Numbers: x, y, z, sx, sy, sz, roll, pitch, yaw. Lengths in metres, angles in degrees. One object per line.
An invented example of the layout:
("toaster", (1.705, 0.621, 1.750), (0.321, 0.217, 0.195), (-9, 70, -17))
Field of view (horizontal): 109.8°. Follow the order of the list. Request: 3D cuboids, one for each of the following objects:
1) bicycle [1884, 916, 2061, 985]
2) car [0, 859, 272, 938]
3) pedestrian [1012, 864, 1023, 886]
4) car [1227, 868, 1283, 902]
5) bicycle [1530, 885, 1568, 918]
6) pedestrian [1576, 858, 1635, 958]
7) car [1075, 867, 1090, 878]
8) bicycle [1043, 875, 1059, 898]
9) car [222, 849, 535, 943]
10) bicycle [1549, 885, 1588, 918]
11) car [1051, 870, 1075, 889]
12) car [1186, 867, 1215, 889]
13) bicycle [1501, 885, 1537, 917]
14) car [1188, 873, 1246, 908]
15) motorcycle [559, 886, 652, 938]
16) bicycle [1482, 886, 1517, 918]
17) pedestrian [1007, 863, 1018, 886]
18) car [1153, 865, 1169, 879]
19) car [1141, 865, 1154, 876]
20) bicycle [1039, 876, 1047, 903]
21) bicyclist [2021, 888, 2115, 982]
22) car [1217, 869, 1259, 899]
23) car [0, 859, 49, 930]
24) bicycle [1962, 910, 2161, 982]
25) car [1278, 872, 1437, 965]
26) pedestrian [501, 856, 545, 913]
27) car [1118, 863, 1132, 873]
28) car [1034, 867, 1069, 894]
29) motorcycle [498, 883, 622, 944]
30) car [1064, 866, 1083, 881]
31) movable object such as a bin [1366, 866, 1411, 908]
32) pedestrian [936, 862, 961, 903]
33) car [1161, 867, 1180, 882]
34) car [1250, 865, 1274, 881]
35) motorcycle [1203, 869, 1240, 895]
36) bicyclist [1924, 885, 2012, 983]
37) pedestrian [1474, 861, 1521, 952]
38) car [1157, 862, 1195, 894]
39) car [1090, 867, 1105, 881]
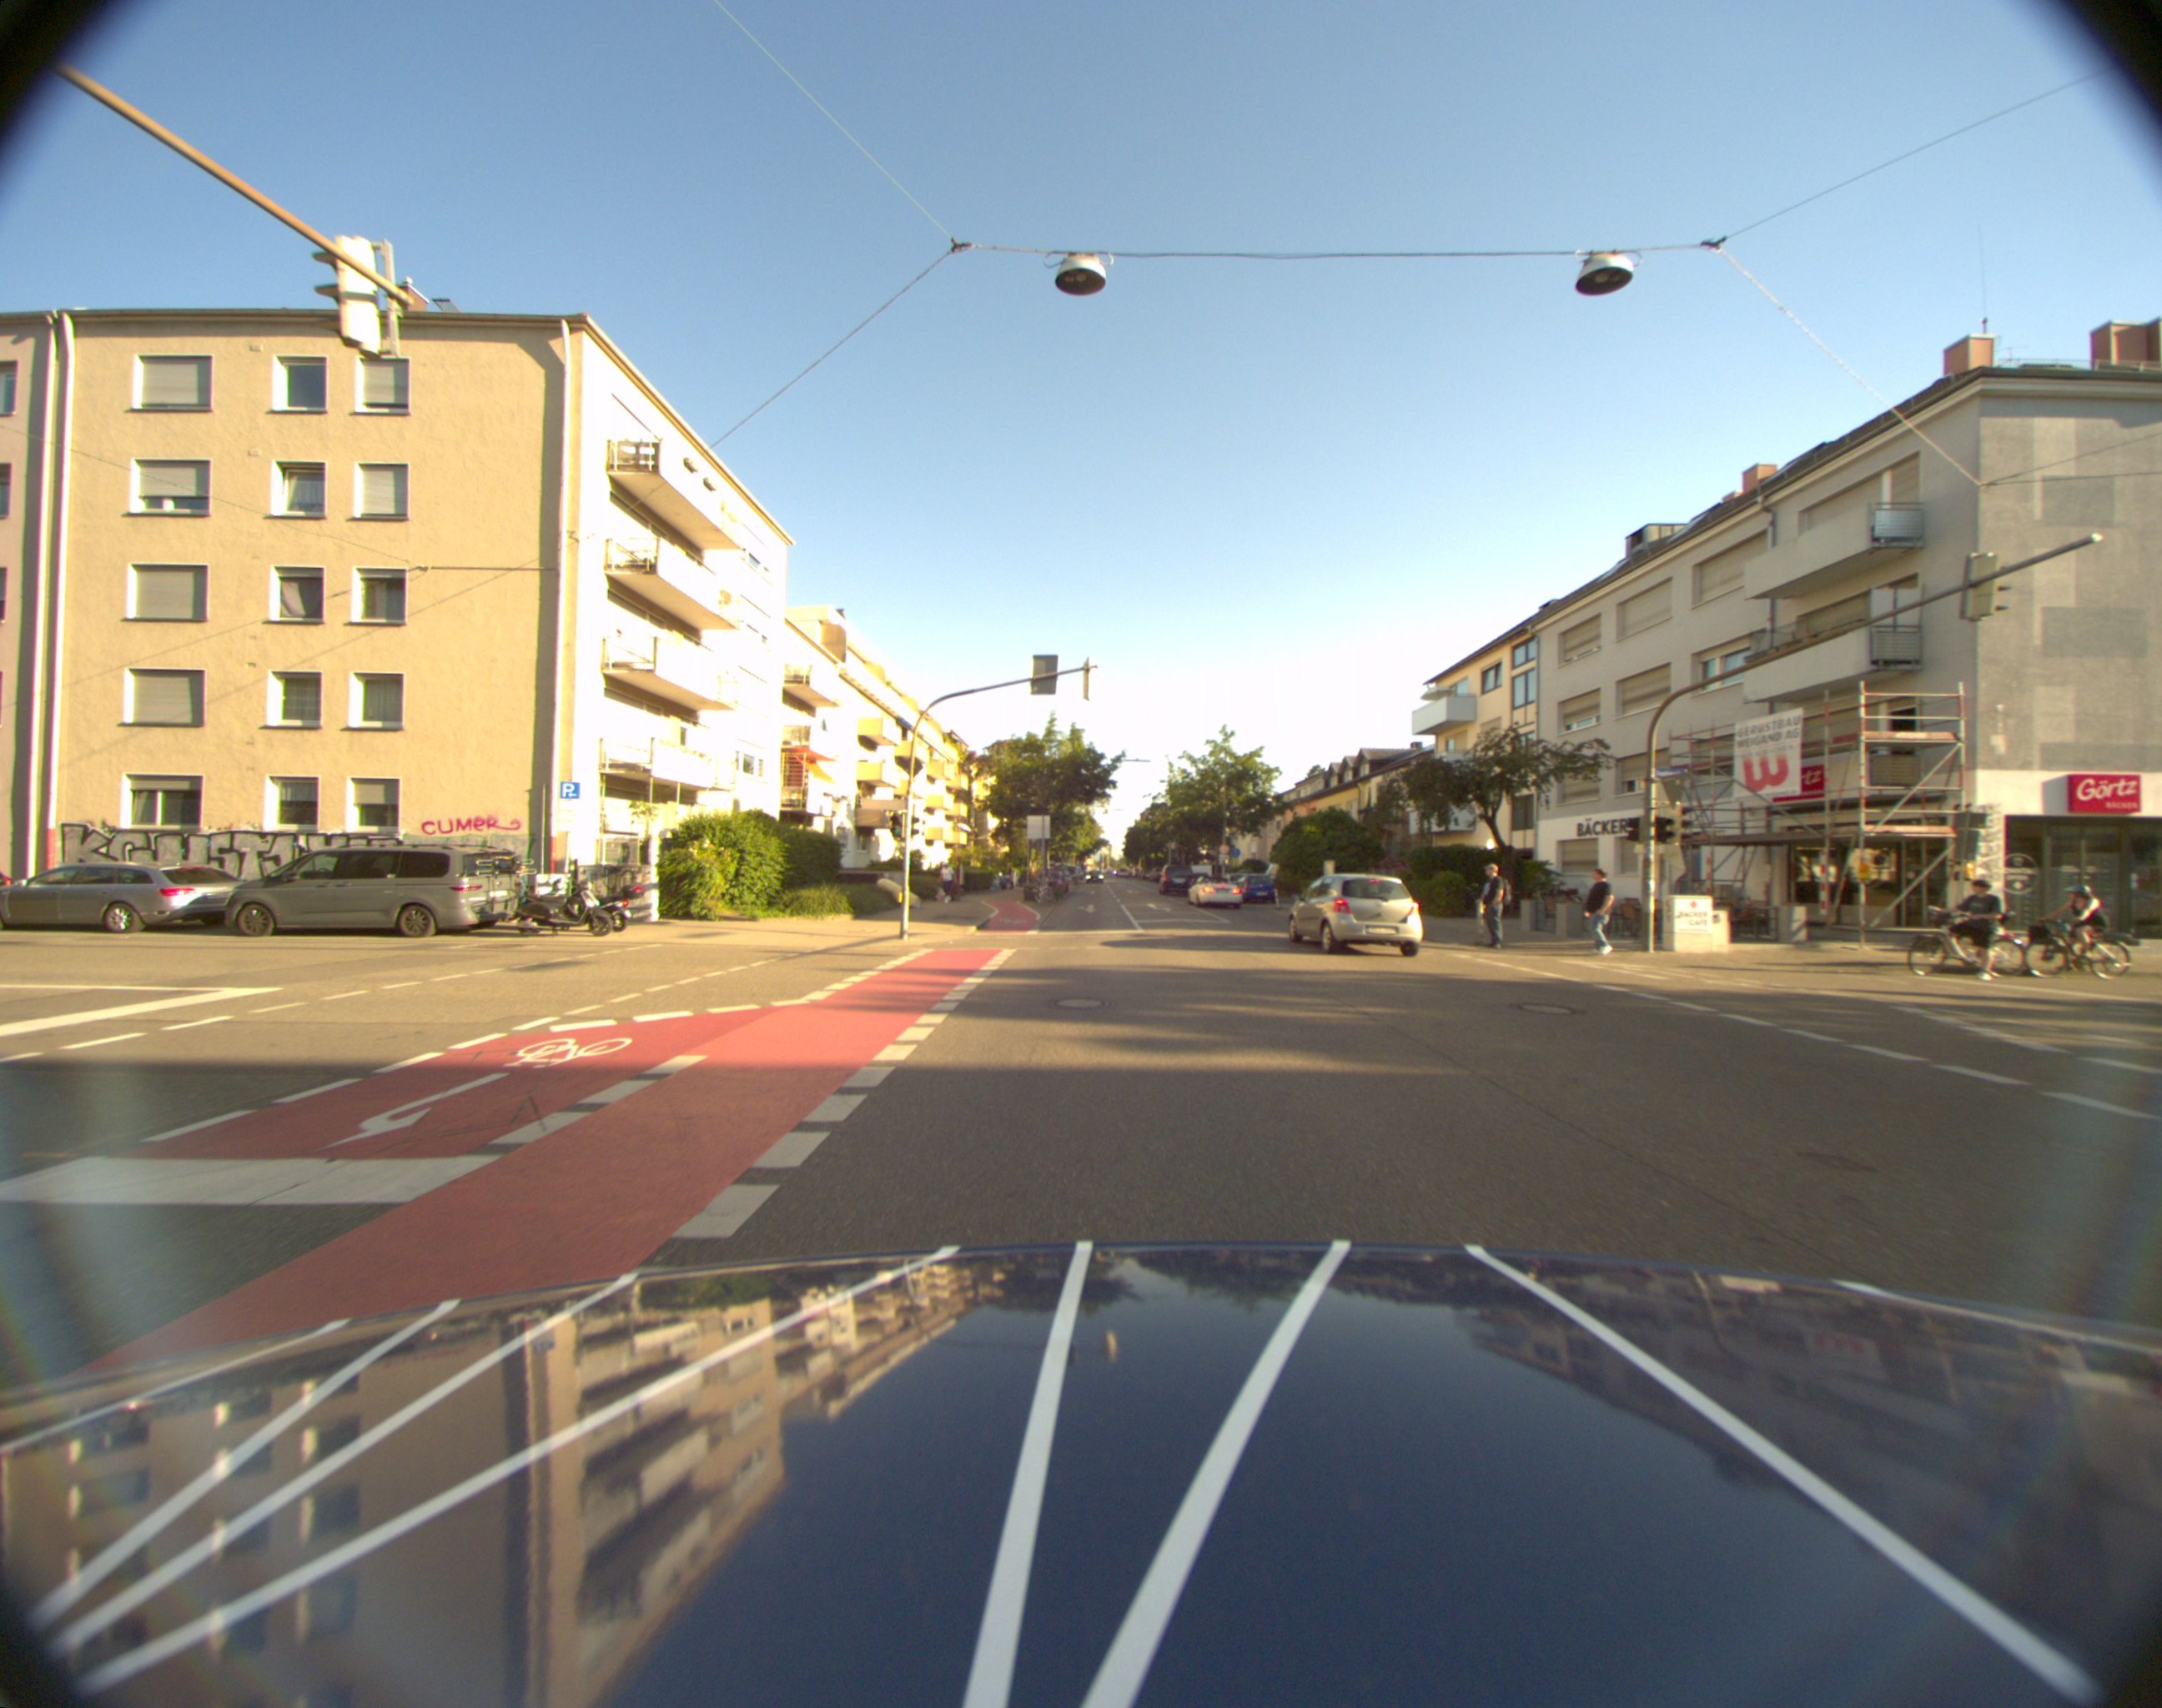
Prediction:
("bicycle", (15.566, 1.668, 13.321), (1.996, 1.082, 0.729), (1, -2, 11))
("car", (-20.968, 0.915, 16.495), (4.620, 1.532, 1.952), (1, 1, -1))
("pedestrian", (-4.945, 1.605, 59.315), (0.659, 1.673, 0.832), (1, 0, 6))
("car", (8.669, 1.516, 38.171), (1.810, 1.604, 3.951), (1, -1, -2))
("bicycle", (15.546, 1.566, 25.277), (0.439, 1.008, 1.478), (1, -1, 4))
("pedestrian", (10.770, 1.082, 15.616), (0.645, 2.001, 0.814), (1, 0, 2))
("car", (0.208, 2.483, 102.848), (1.744, 1.508, 3.812), (1, -1, 3))
("bicycle", (-1.521, 1.661, 38.884), (0.324, 1.138, 1.803), (1, -1, 14))
("car", (-14.886, 0.843, 16.325), (4.841, 1.855, 1.952), (1, 1, -1))
("bicycle", (16.164, 1.553, 25.226), (0.439, 1.008, 1.478), (1, -1, 4))
("car", (-1.484, 2.142, 63.892), (1.744, 1.508, 3.812), (1, -1, 3))
("car", (9.306, 1.846, 59.581), (1.734, 1.604, 4.198), (1, -1, 2))
("bicycle", (14.649, 1.560, 25.462), (0.439, 1.008, 1.478), (1, -1, 4))
("car", (5.808, 1.541, 32.863), (1.845, 1.312, 4.443), (1, -1, 2))
("motorcycle", (-10.555, 1.281, 16.900), (1.698, 1.105, 0.594), (0, 0, 2))
("bicycle", (14.043, 1.590, 25.516), (0.439, 1.008, 1.478), (1, -1, 4))
("pedestrian", (-5.177, 1.554, 57.311), (0.659, 1.673, 0.832), (1, 0, 6))
("car", (10.107, 2.272, 96.076), (1.692, 1.656, 3.660), (1, -1, 1))
("car", (10.043, 2.439, 114.735), (1.642, 1.554, 3.660), (1, -1, 1))
("bicycle", (-1.719, 1.593, 34.012), (0.325, 1.138, 1.800), (1, -1, -4))
("bicyclist", (17.972, 1.446, 13.857), (0.687, 1.585, 0.751), (2, 2, 20))
("car", (8.788, 1.651, 42.759), (1.755, 1.526, 3.573), (1, -1, 2))
("car", (-25.798, 0.864, 16.421), (4.289, 1.532, 1.953), (1, 1, 0))
("bicycle", (17.922, 1.651, 13.883), (2.266, 1.083, 0.729), (2, 2, 20))
("car", (5.387, 1.183, 15.389), (1.809, 1.548, 4.001), (1, -1, 1))
("pedestrian", (-13.704, 0.735, 18.664), (0.641, 1.383, 0.594), (0, 0, 0))
("car", (7.830, 2.498, 135.041), (1.843, 1.604, 4.407), (1, -1, -6))
("car", (-1.727, 1.569, 45.937), (1.744, 1.508, 3.812), (1, -1, 3))
("motorcycle", (-10.812, 1.224, 15.839), (1.992, 1.193, 0.774), (0, 0, -11))
("car", (-0.806, 2.093, 80.885), (1.744, 1.508, 3.812), (1, -1, 3))
("movable object such as a bin", (12.777, 1.359, 31.632), (1.309, 1.649, 1.180), (-3, 1, 1))
("pedestrian", (-5.560, 1.196, 31.919), (0.830, 1.673, 0.661), (1, 0, 5))
("car", (9.674, 2.171, 82.484), (1.642, 1.554, 3.660), (1, -1, 1))
("car", (18.691, 1.913, 78.721), (1.841, 1.604, 4.412), (1, -1, 6))
("motorcycle", (8.718, 1.723, 47.300), (1.263, 1.526, 2.888), (1, -1, -13))
("bicyclist", (15.538, 1.372, 13.330), (0.671, 1.643, 0.751), (1, -1, 11))
("pedestrian", (9.394, 1.158, 17.155), (0.639, 2.001, 0.740), (1, 0, 2))
("car", (5.916, 1.460, 47.694), (1.842, 1.865, 4.410), (1, -1, 0))
("car", (1.805, 2.185, 83.461), (1.641, 1.481, 4.416), (2, -1, 1))
